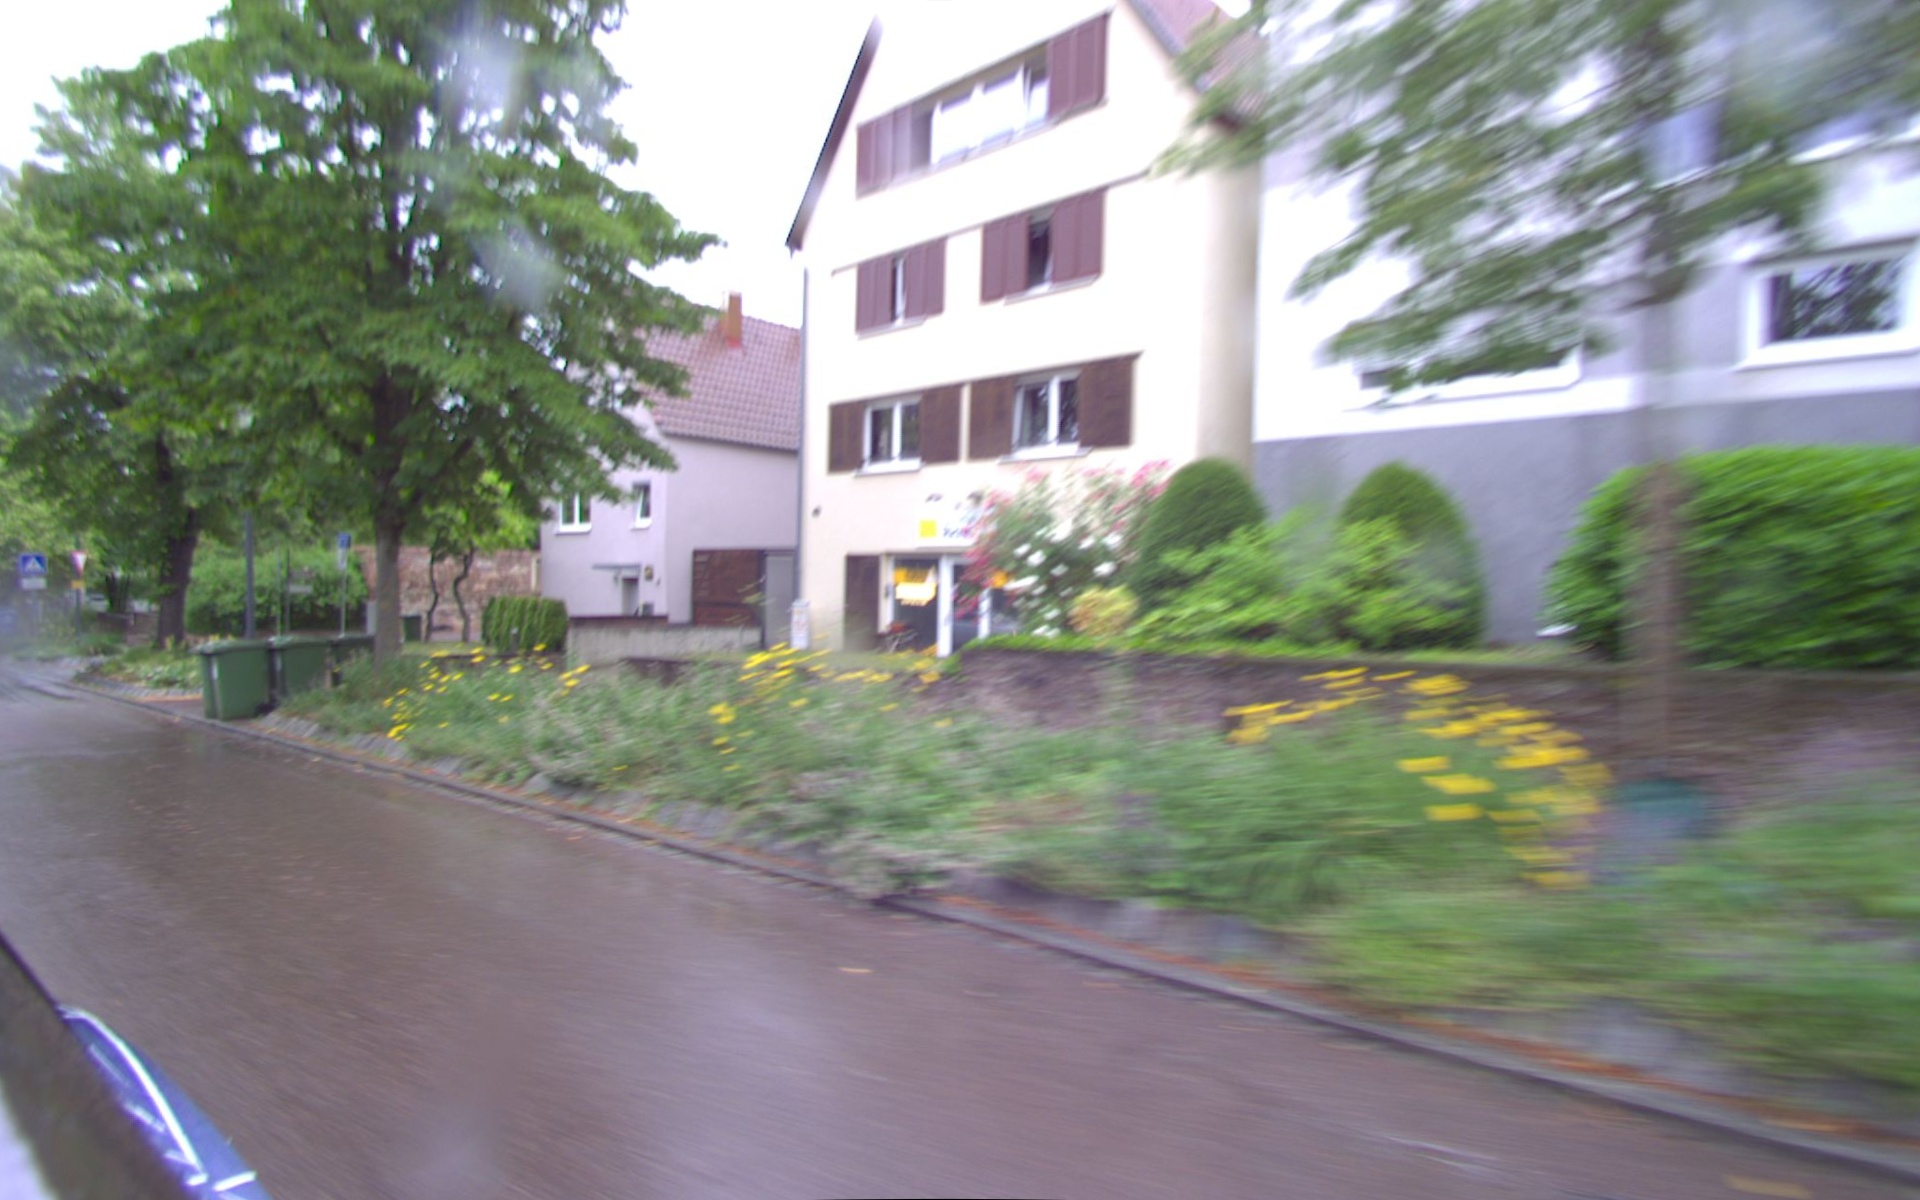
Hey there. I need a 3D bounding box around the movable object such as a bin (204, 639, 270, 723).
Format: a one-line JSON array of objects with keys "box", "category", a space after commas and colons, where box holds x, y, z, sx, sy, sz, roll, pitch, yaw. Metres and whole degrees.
[{"box": [-10.041, 1.112, 14.050, 0.570, 1.085, 0.578, -1, 2, 39], "category": "movable object such as a bin"}]

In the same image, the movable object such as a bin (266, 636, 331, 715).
[{"box": [-9.577, 1.081, 14.646, 0.568, 1.067, 0.611, -1, 2, 40], "category": "movable object such as a bin"}]

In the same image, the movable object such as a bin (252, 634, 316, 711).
[{"box": [-10.057, 1.063, 15.055, 0.581, 1.069, 0.617, -1, 2, 40], "category": "movable object such as a bin"}]

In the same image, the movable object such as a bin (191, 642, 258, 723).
[{"box": [-10.527, 1.162, 14.489, 0.564, 1.067, 0.622, -1, 2, 40], "category": "movable object such as a bin"}]

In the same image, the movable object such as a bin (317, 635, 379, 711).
[{"box": [-9.158, 1.081, 15.147, 0.560, 1.067, 0.611, -1, 2, 40], "category": "movable object such as a bin"}]
